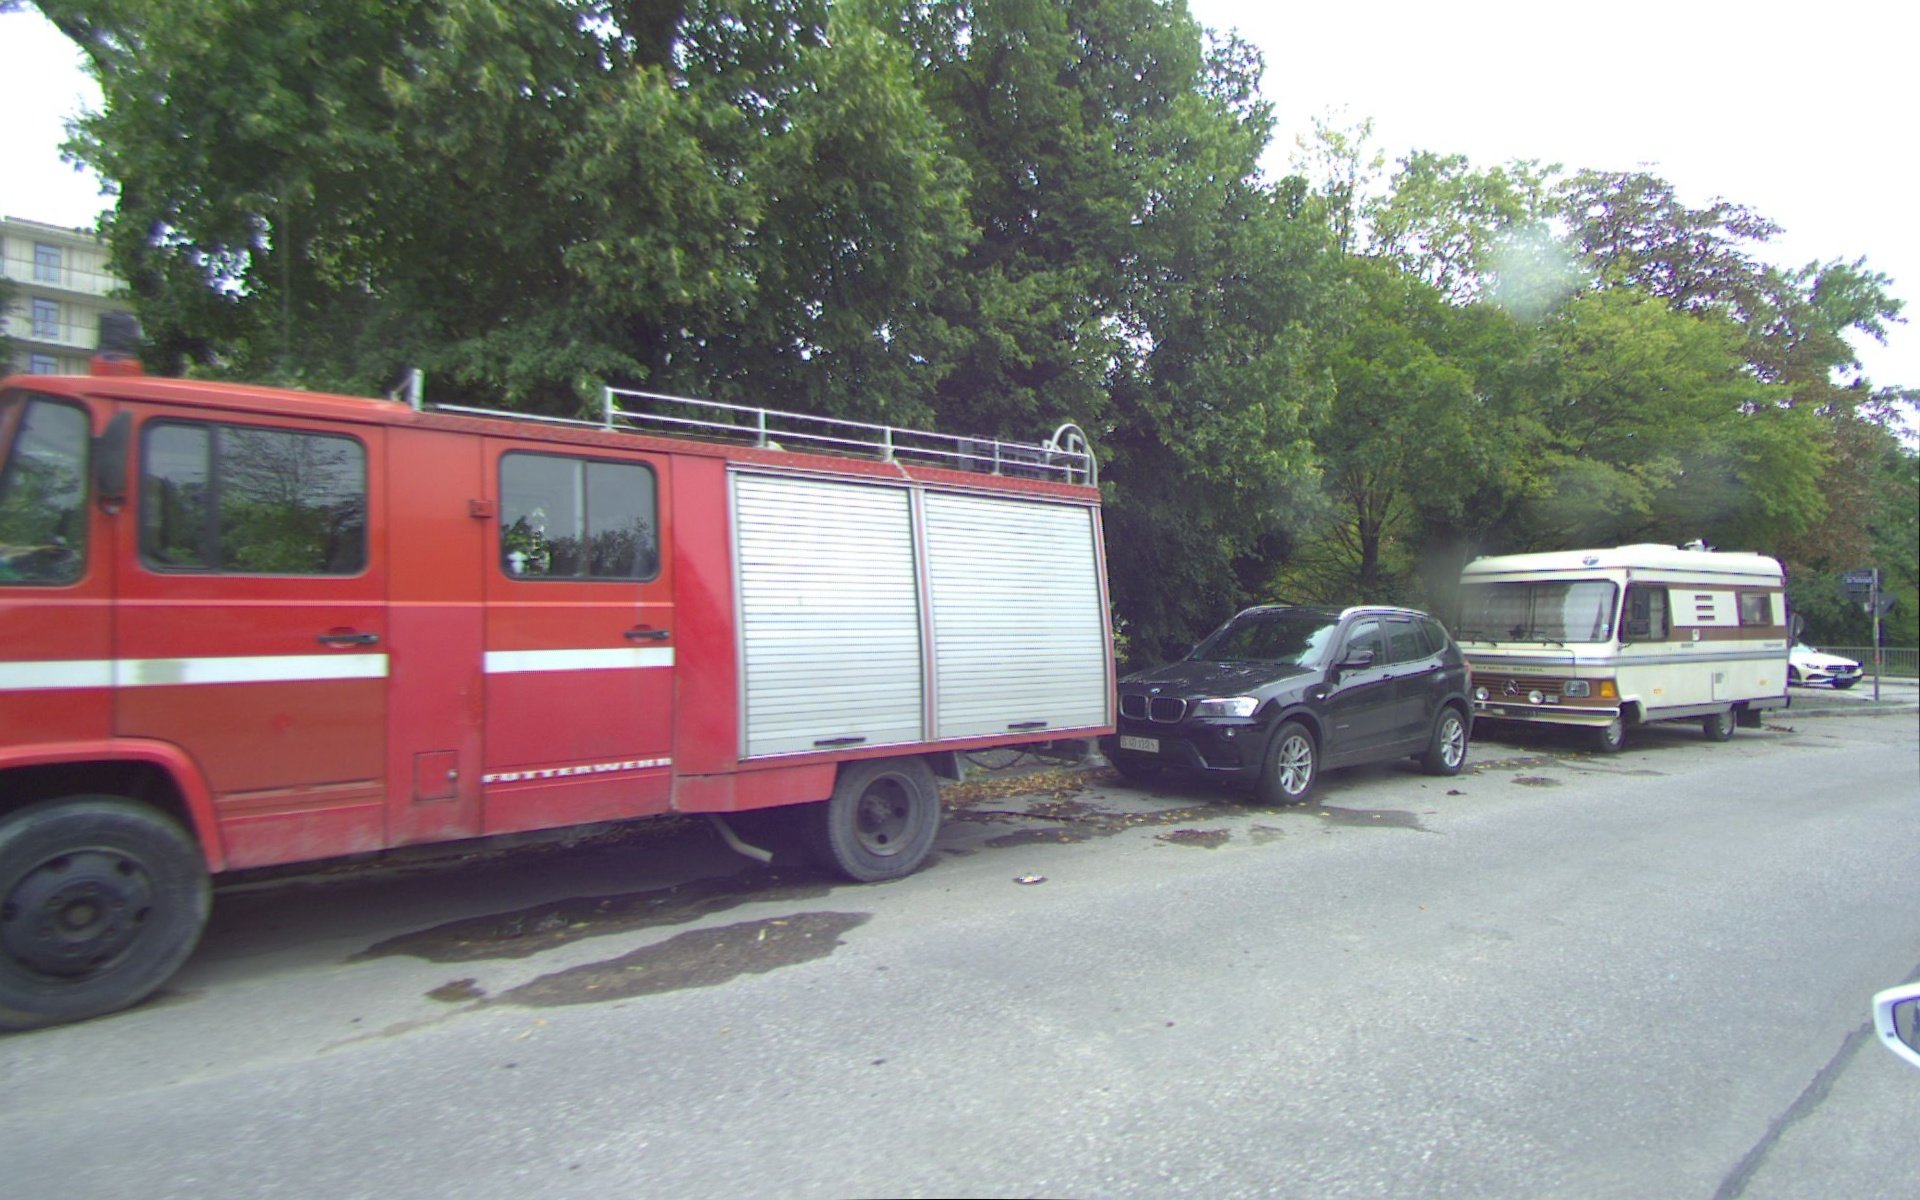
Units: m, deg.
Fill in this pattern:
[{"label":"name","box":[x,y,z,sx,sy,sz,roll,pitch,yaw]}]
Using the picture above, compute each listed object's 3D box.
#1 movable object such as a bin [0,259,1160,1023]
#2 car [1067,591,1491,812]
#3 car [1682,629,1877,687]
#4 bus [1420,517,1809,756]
[{"label":"movable object such as a bin","box":[-1.754,0.220,5.630,6.129,2.491,2.089,2,-2,-37]},{"label":"car","box":[3.228,0.845,9.697,4.422,1.671,1.762,2,-2,-39]},{"label":"car","box":[25.029,1.725,30.960,1.857,1.565,4.852,1,-1,-3]},{"label":"bus","box":[9.182,0.515,13.939,5.669,2.734,2.303,2,-1,-31]}]
